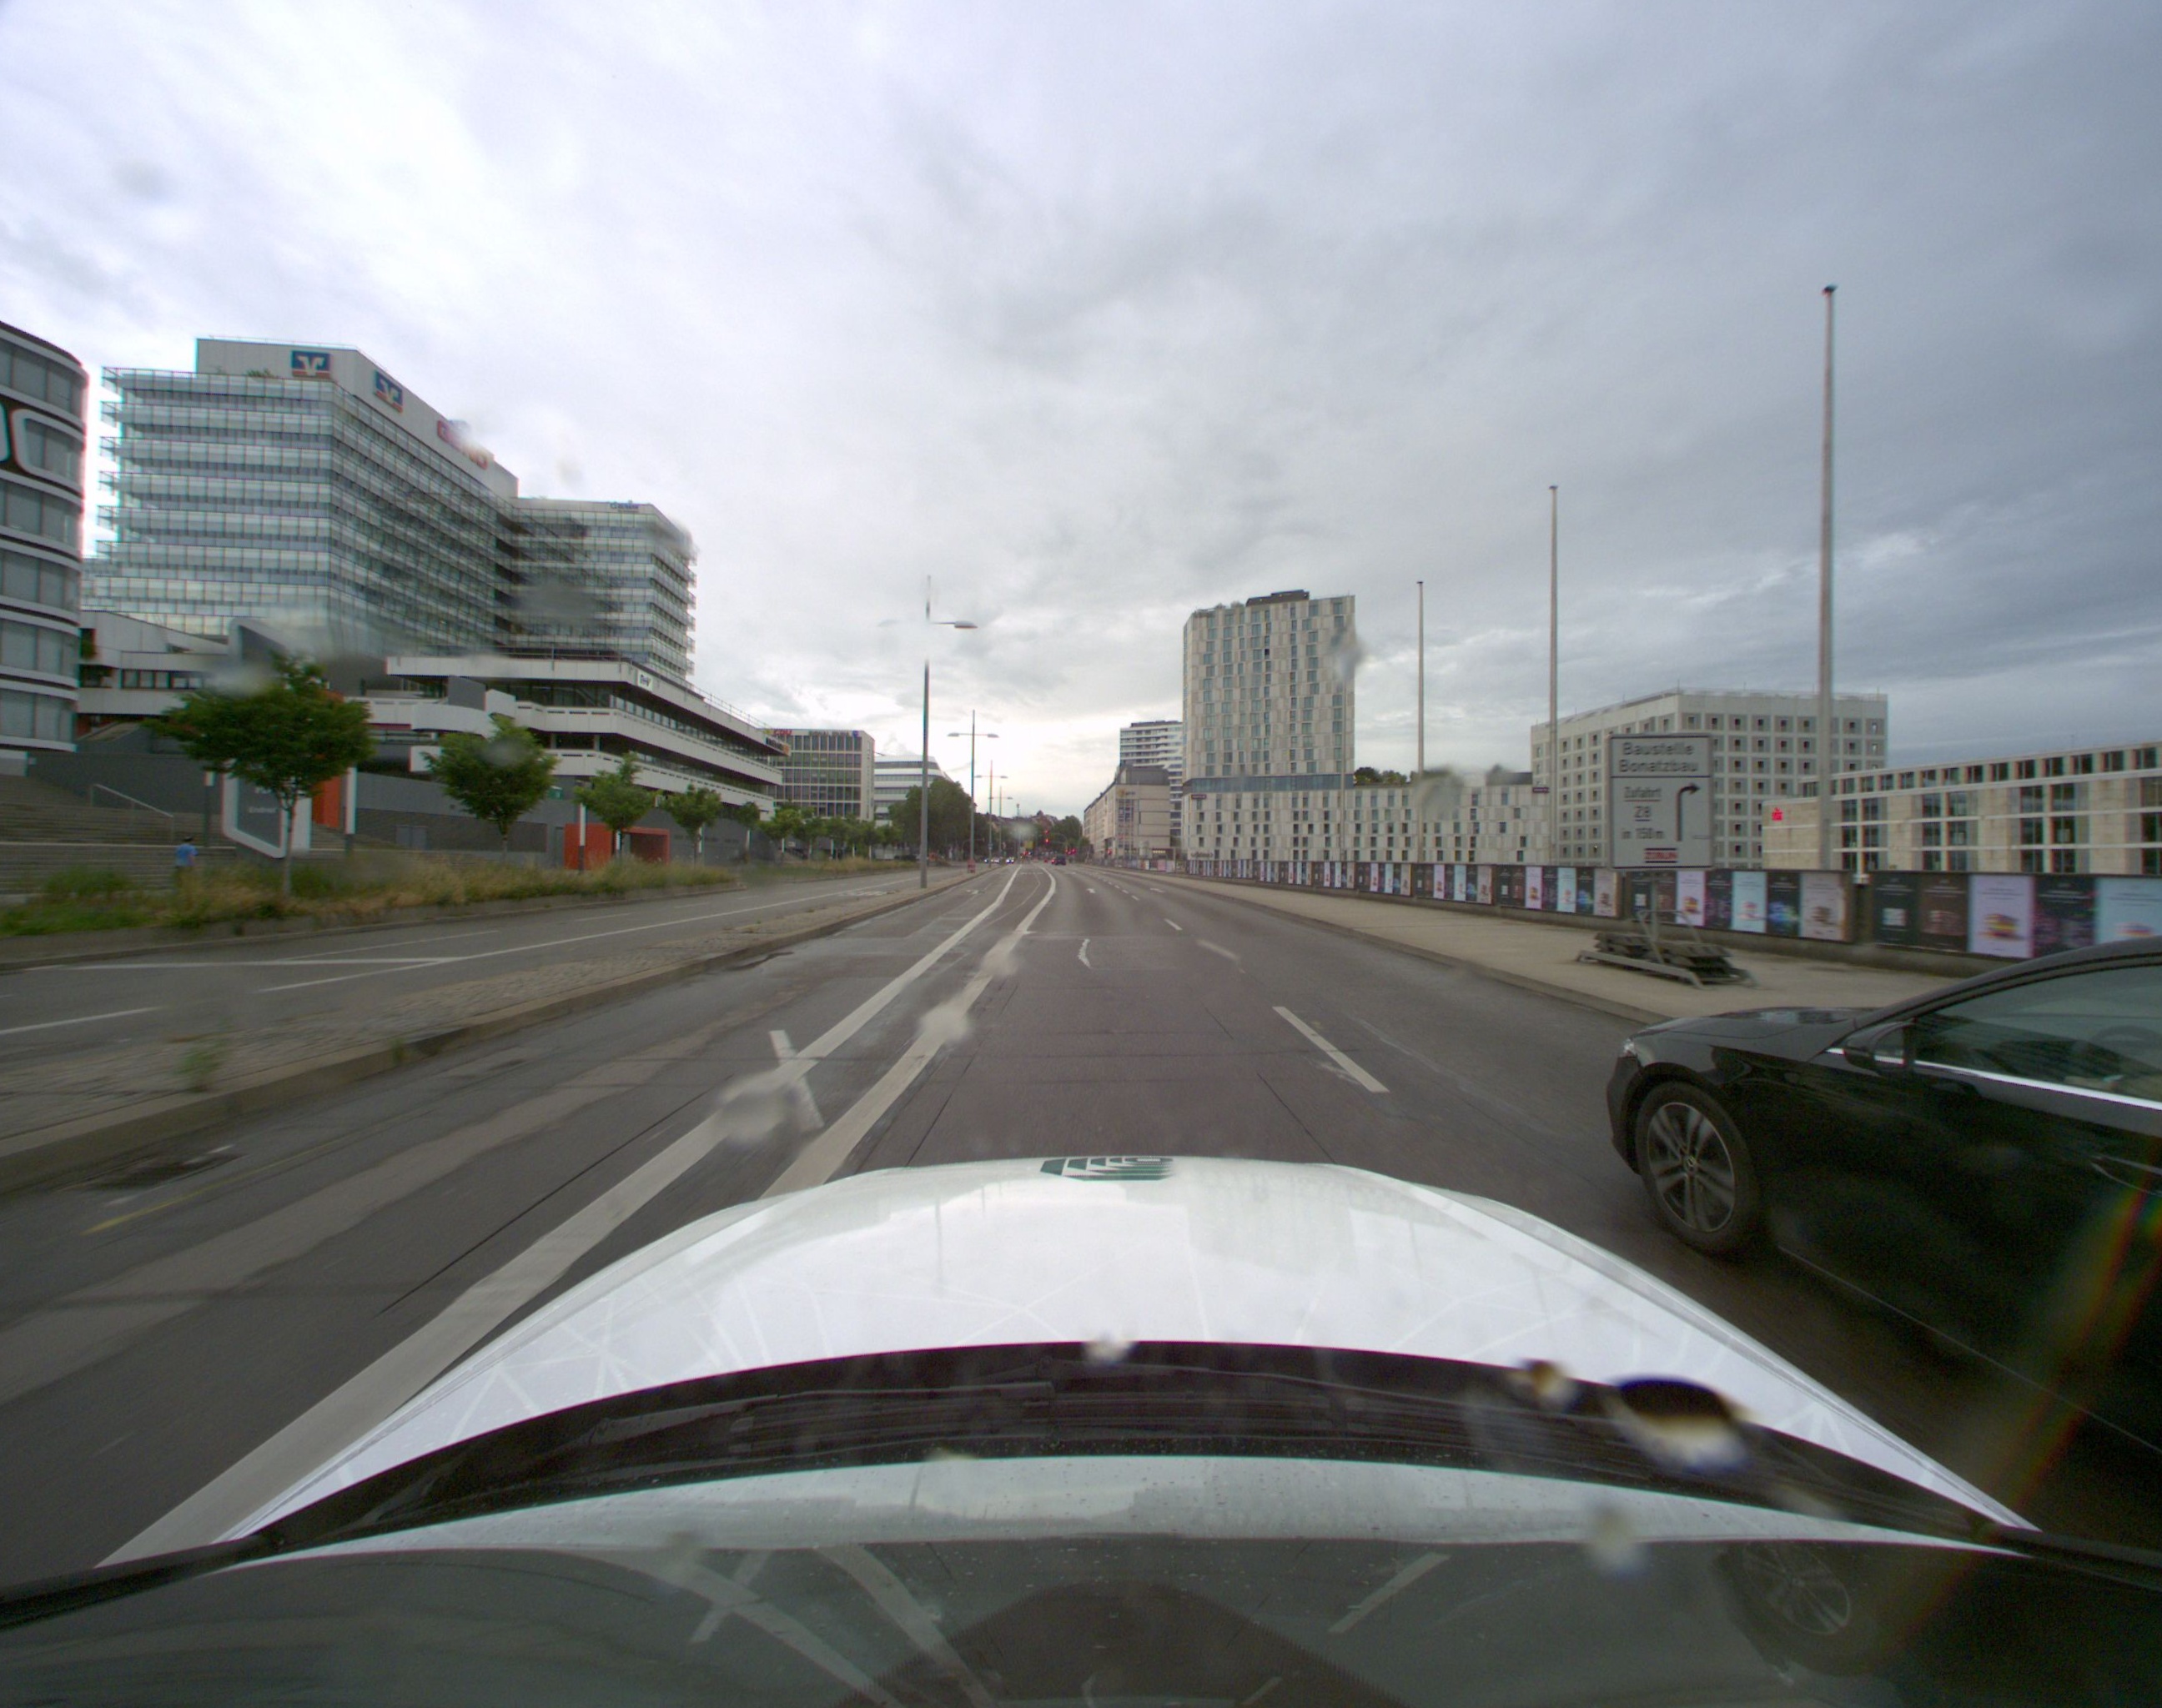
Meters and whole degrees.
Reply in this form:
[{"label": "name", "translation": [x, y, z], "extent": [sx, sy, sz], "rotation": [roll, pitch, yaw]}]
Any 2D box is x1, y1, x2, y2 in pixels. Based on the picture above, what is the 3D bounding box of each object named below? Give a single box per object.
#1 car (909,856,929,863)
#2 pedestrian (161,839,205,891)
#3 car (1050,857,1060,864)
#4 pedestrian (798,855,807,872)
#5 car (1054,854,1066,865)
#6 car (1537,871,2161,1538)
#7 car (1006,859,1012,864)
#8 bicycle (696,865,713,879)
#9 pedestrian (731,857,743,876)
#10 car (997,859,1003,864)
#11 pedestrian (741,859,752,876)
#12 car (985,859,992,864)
[{"label": "car", "translation": [-40.434, 1.458, 203.244], "extent": [4.471, 1.631, 1.901], "rotation": [-1, -2, 12]}, {"label": "pedestrian", "translation": [-28.309, 0.344, 25.679], "extent": [0.609, 1.611, 0.639], "rotation": [0, -2, -1]}, {"label": "car", "translation": [-5.980, 1.568, 186.108], "extent": [1.739, 1.531, 3.802], "rotation": [0, -1, -8]}, {"label": "pedestrian", "translation": [-29.222, 1.010, 85.425], "extent": [0.782, 1.808, 0.628], "rotation": [0, -2, -4]}, {"label": "car", "translation": [-4.193, 1.084, 161.066], "extent": [2.029, 1.882, 5.035], "rotation": [-3, 0, -3]}, {"label": "car", "translation": [3.100, 0.731, 2.004], "extent": [1.717, 1.376, 4.156], "rotation": [0, -1, 2]}, {"label": "car", "translation": [-20.418, 2.107, 230.593], "extent": [1.740, 1.445, 3.389], "rotation": [0, -1, -4]}, {"label": "bicycle", "translation": [-23.205, 1.135, 50.134], "extent": [0.612, 0.857, 1.639], "rotation": [1, -2, -37]}, {"label": "pedestrian", "translation": [-29.428, 1.074, 69.656], "extent": [0.616, 1.658, 0.797], "rotation": [1, -2, -2]}, {"label": "car", "translation": [-23.016, 2.086, 231.858], "extent": [1.740, 1.257, 3.534], "rotation": [1, 0, -4]}, {"label": "pedestrian", "translation": [-28.583, 1.137, 69.651], "extent": [0.616, 1.446, 0.797], "rotation": [0, -2, -2]}, {"label": "car", "translation": [-26.214, 2.053, 230.969], "extent": [1.740, 1.328, 4.219], "rotation": [0, -1, -4]}]
